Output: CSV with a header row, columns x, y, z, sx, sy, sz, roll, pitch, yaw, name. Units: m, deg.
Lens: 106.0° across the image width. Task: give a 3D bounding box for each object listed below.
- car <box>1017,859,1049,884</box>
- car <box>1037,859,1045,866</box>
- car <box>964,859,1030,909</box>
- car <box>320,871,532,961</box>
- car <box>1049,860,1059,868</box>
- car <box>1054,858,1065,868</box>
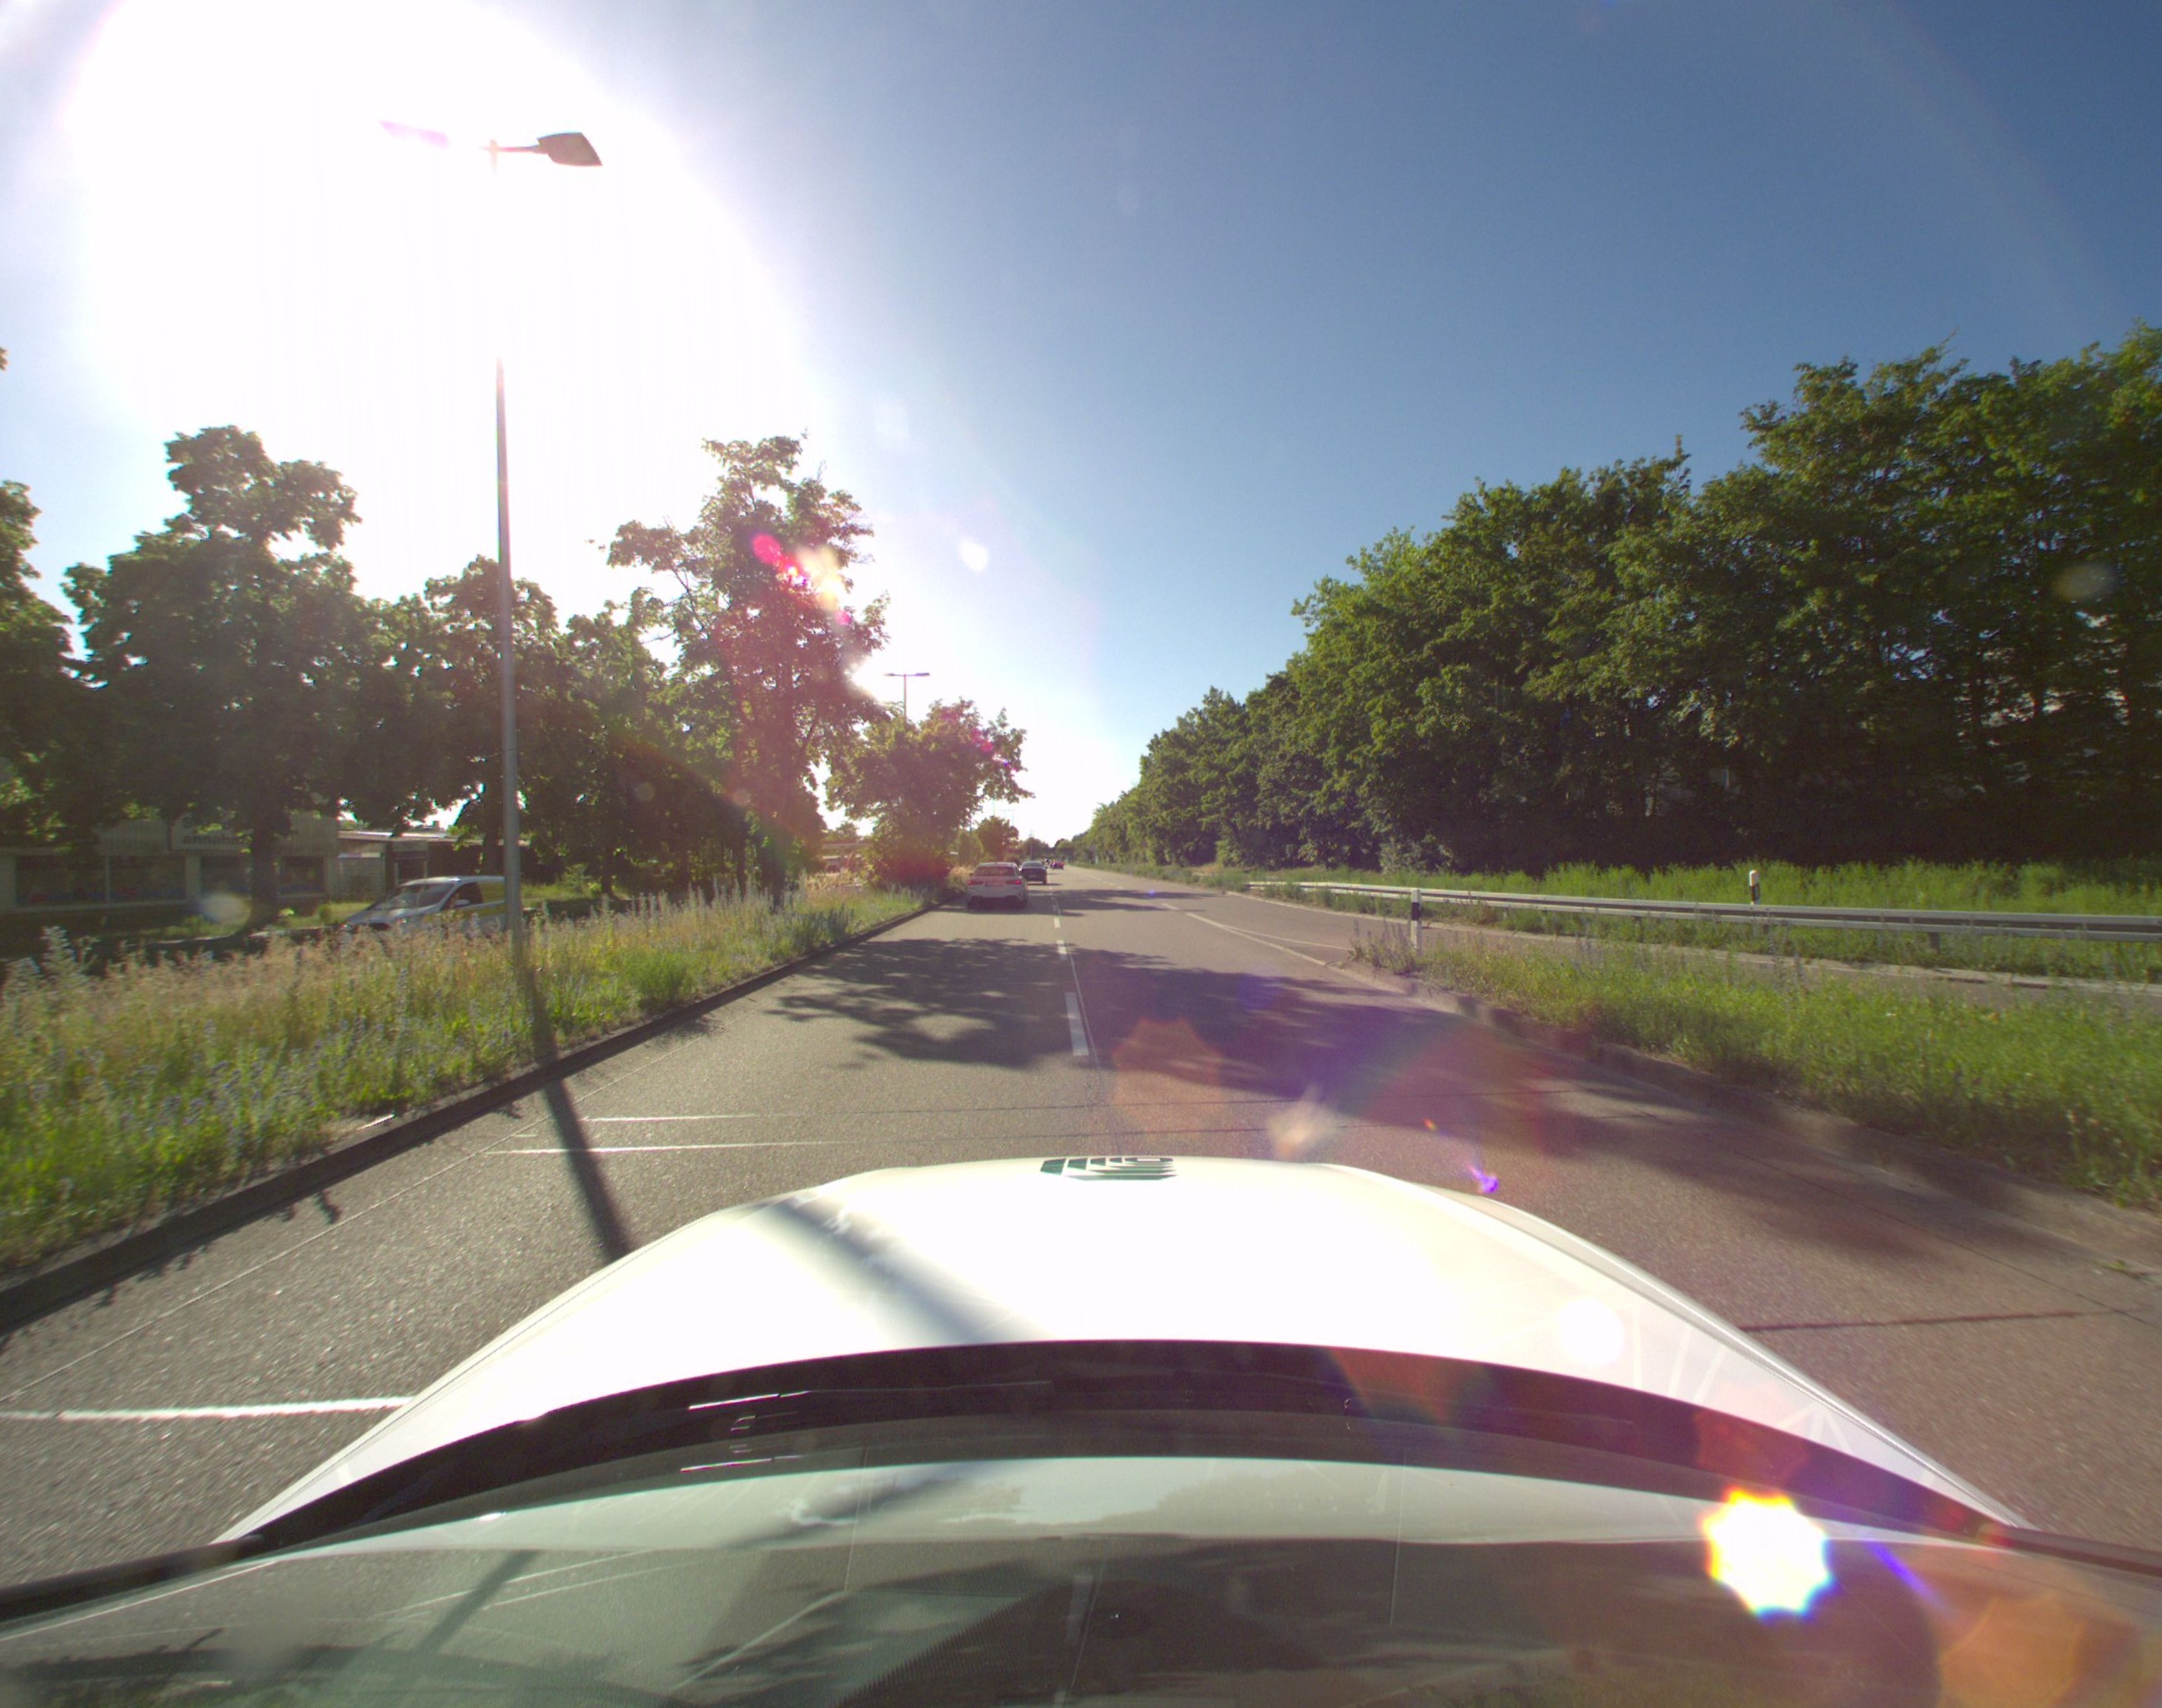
x,y,z,sx,sy,sz,roll,pitch,yaw,name
-3.016,1.058,51.349,1.857,1.455,4.542,-2,0,-3,car
-9.539,2.035,192.338,1.857,1.565,4.542,-1,0,-3,car
-2.672,0.925,26.843,1.857,1.455,4.544,-1,0,-2,car
-14.865,1.318,18.833,1.703,1.746,4.160,-2,0,-4,car
-5.294,1.977,160.607,1.768,1.555,3.827,-2,0,-4,car
-3.686,1.543,138.261,1.857,1.499,4.331,-2,0,-3,car
